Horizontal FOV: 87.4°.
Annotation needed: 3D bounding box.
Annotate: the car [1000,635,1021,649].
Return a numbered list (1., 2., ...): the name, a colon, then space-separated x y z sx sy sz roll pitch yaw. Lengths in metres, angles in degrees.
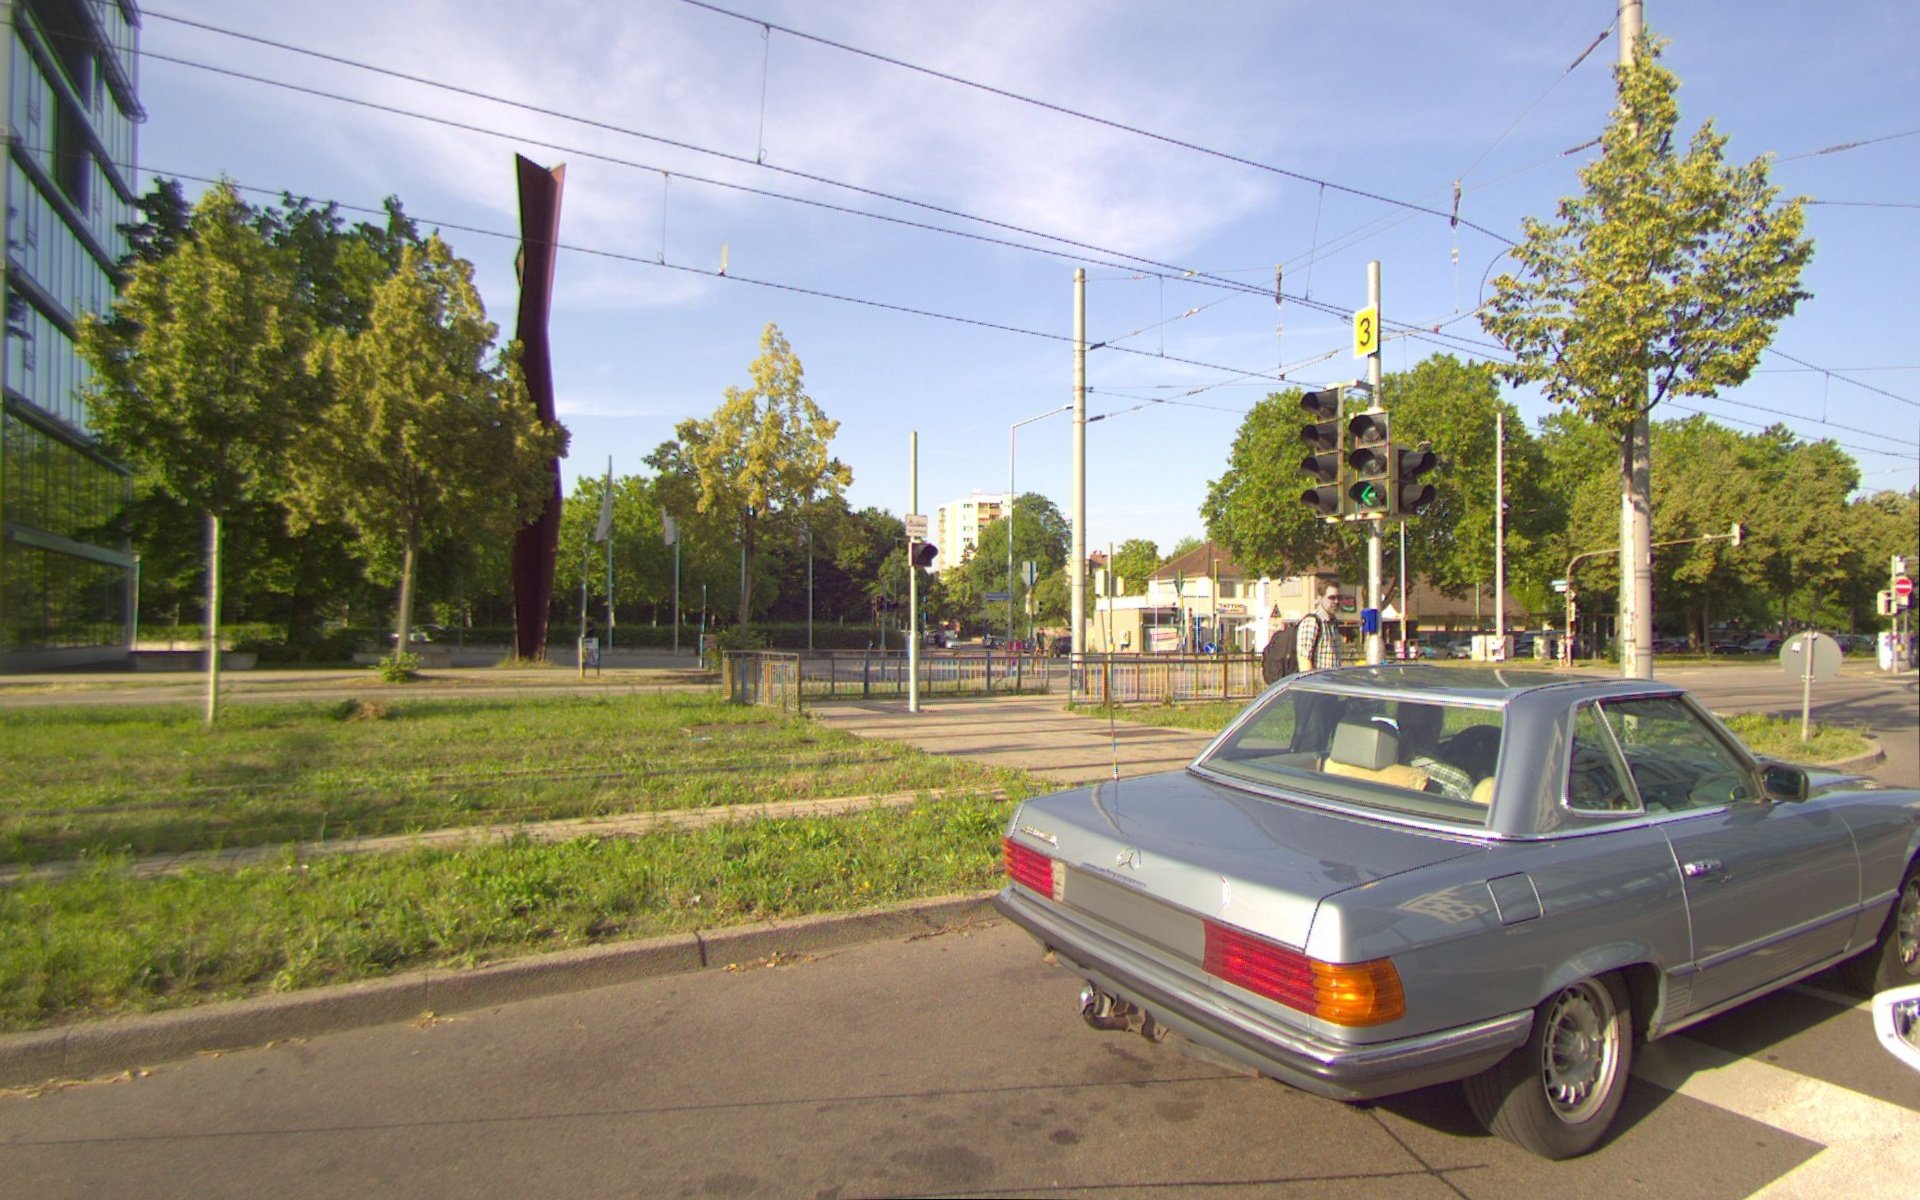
1. car: 5.574 4.703 111.820 1.667 1.491 3.941 0 -2 -8

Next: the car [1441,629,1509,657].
1. car: 33.427 2.771 65.202 3.945 1.773 1.876 1 -2 -25

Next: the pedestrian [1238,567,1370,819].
1. pedestrian: 2.621 0.673 7.688 0.628 1.816 0.696 1 0 -29

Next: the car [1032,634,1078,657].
1. car: 7.446 3.559 79.235 1.971 1.750 3.979 1 -2 -22

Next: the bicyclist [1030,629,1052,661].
1. bicyclist: 3.855 2.145 47.727 0.836 1.512 0.697 -1 -2 38

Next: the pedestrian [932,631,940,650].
1. pedestrian: -2.130 3.601 88.622 0.654 1.654 0.664 0 -1 -2

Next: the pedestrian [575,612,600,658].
1. pedestrian: -17.545 1.666 47.312 0.864 2.135 0.724 -1 -3 -1

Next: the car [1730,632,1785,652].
1. car: 63.598 3.325 80.078 3.945 1.580 1.876 1 -2 -25

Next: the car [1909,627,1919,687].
1. car: 24.093 1.381 22.576 1.699 1.481 4.577 1 -1 9

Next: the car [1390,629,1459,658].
1. car: 29.203 2.718 63.126 3.945 1.773 1.876 1 -2 -25

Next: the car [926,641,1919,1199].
1. car: 2.183 0.898 3.954 4.349 1.348 1.755 1 0 -31

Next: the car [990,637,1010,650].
1. car: 4.660 5.108 117.649 1.667 1.491 3.941 0 -2 -8

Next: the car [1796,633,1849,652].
1. car: 72.111 3.560 83.974 3.945 1.580 1.876 1 -2 -25

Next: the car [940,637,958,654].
1. car: -1.222 5.134 113.617 1.961 1.806 4.000 0 -2 -1

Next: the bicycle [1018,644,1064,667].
1. bicycle: 3.841 2.630 47.724 2.168 1.055 0.697 -1 -2 38

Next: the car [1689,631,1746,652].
1. car: 58.613 3.178 77.720 3.945 1.580 1.876 1 -2 -25

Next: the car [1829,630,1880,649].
1. car: 76.682 3.358 86.083 3.945 1.580 1.876 1 -2 -25

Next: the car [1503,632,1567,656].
1. car: 38.814 2.934 67.816 3.945 1.580 1.876 1 -2 -25

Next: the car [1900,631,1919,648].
1. car: 87.795 3.586 91.460 3.945 1.580 1.876 1 -2 -25

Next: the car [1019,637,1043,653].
1. car: 7.046 4.455 100.307 1.667 1.491 3.941 0 -2 -8

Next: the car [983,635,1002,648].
1. car: 3.954 5.067 123.438 1.667 1.491 3.941 0 -2 -8

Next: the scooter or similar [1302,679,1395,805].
1. scooter or similar: 3.073 1.105 7.966 0.424 0.919 0.546 1 -2 -29

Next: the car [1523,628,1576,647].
1. car: 47.866 3.047 81.567 3.945 1.580 1.876 1 -2 -25
